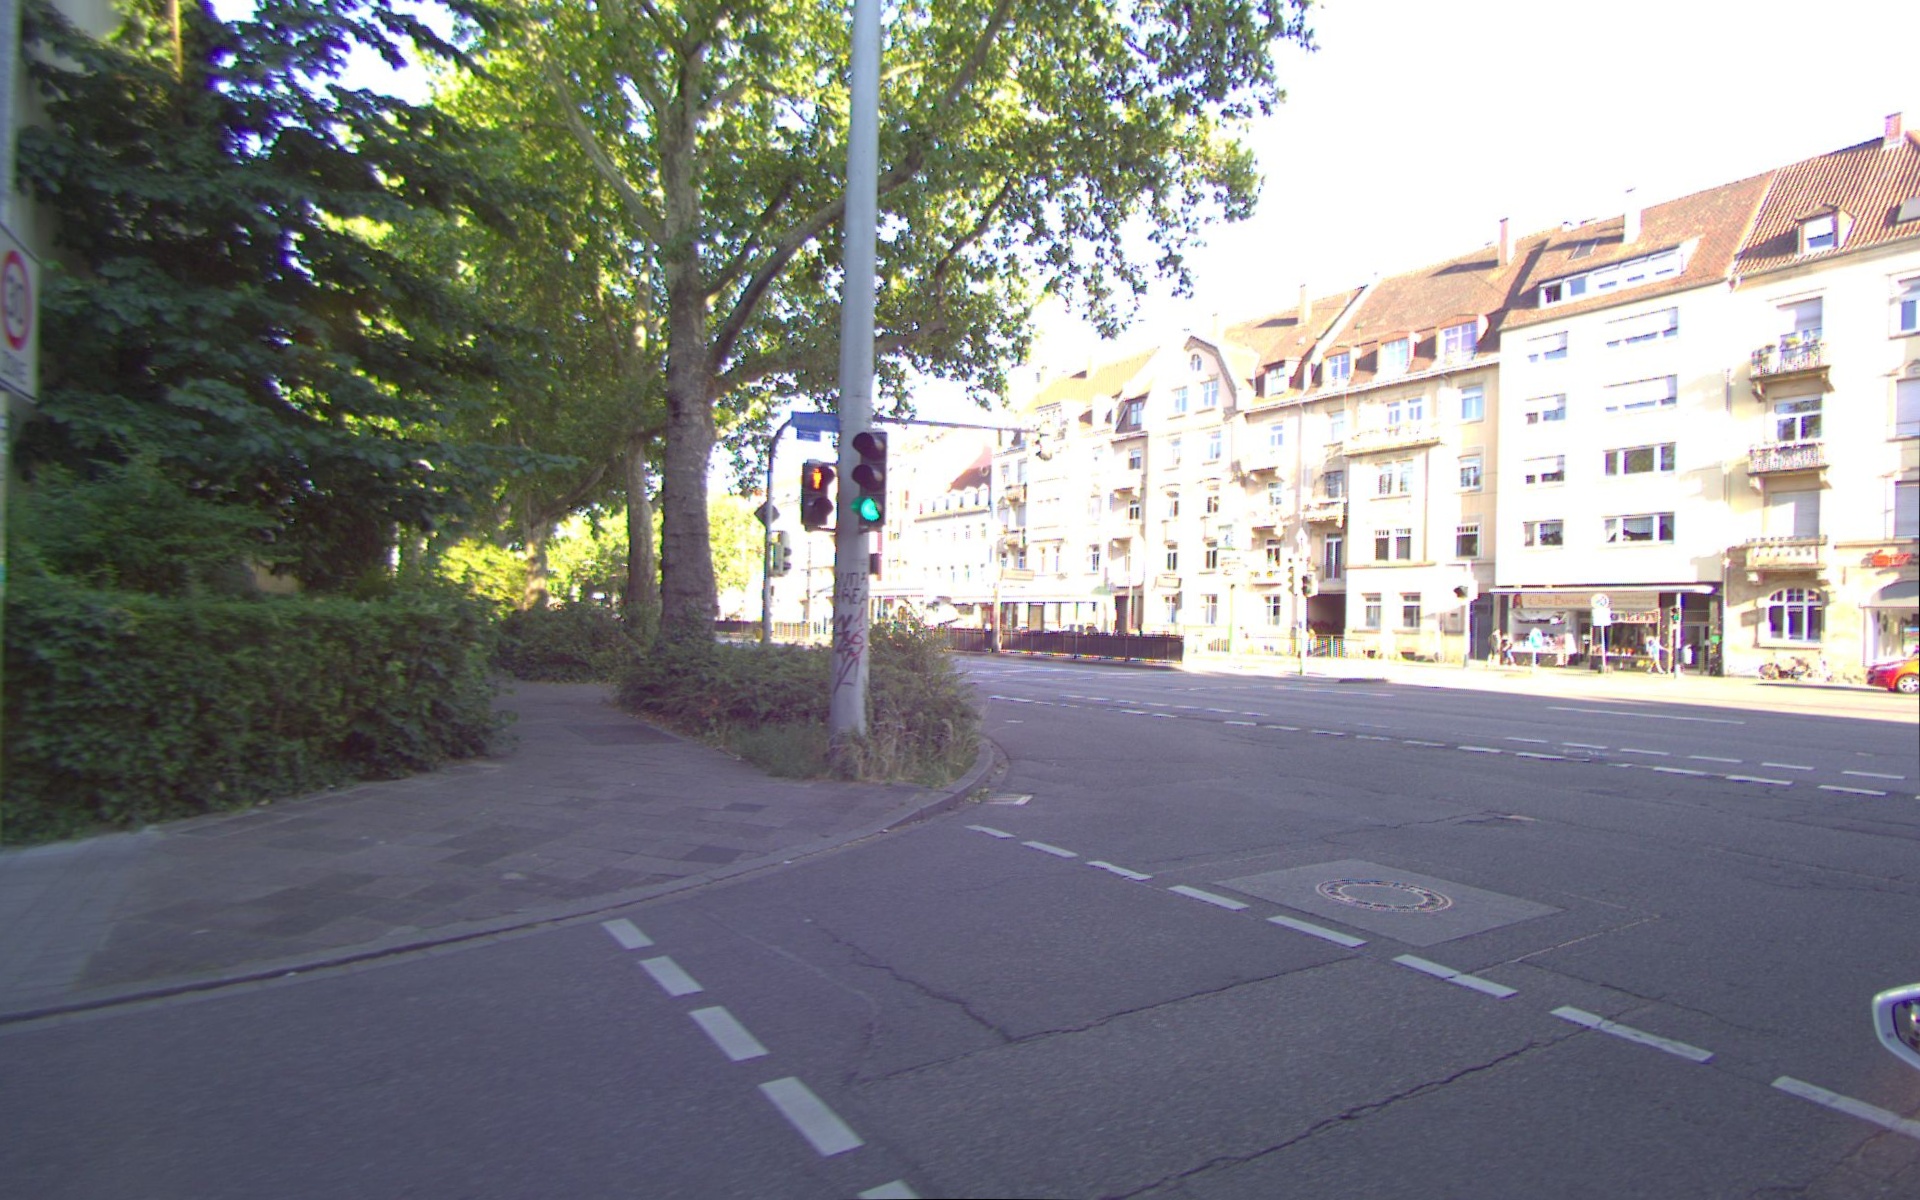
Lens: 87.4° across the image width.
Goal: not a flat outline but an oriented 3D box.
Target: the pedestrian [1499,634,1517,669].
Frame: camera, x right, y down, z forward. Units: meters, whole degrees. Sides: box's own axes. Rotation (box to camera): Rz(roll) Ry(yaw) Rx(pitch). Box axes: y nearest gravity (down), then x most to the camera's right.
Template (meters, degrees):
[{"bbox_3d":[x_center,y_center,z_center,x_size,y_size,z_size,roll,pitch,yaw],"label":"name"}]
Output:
[{"bbox_3d":[25.600,2.410,46.927,0.463,1.584,0.558,2,0,-37],"label":"pedestrian"}]

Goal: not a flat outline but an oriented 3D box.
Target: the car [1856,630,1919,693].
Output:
[{"bbox_3d":[31.529,2.013,31.865,4.232,1.924,1.918,2,0,29],"label":"car"}]

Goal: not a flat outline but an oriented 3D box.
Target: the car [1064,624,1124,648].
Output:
[{"bbox_3d":[8.958,2.423,67.212,3.673,1.483,1.928,3,-1,-38],"label":"car"}]

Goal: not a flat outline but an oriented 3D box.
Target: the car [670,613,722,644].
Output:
[{"bbox_3d":[-14.646,1.548,55.587,1.857,1.617,3.969,2,-1,-29],"label":"car"}]

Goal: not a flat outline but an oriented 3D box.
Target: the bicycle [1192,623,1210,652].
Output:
[{"bbox_3d":[14.828,2.295,61.850,0.554,1.760,0.882,2,0,-29],"label":"bicycle"}]

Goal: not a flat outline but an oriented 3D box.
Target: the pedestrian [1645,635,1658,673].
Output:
[{"bbox_3d":[29.489,2.292,42.813,0.343,1.601,0.316,2,-1,-25],"label":"pedestrian"}]

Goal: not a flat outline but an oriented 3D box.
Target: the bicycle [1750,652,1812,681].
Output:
[{"bbox_3d":[32.067,2.579,39.257,0.488,1.041,1.795,2,-1,-34],"label":"bicycle"}]

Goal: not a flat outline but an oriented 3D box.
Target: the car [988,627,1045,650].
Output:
[{"bbox_3d":[4.093,2.780,72.543,3.673,1.483,1.928,3,-1,-38],"label":"car"}]

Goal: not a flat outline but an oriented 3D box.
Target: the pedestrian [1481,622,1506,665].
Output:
[{"bbox_3d":[25.220,2.055,47.489,0.759,2.040,0.665,2,-1,-25],"label":"pedestrian"}]

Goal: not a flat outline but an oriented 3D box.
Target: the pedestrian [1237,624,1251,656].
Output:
[{"bbox_3d":[17.229,2.427,60.943,0.634,1.862,0.473,2,0,-31],"label":"pedestrian"}]
